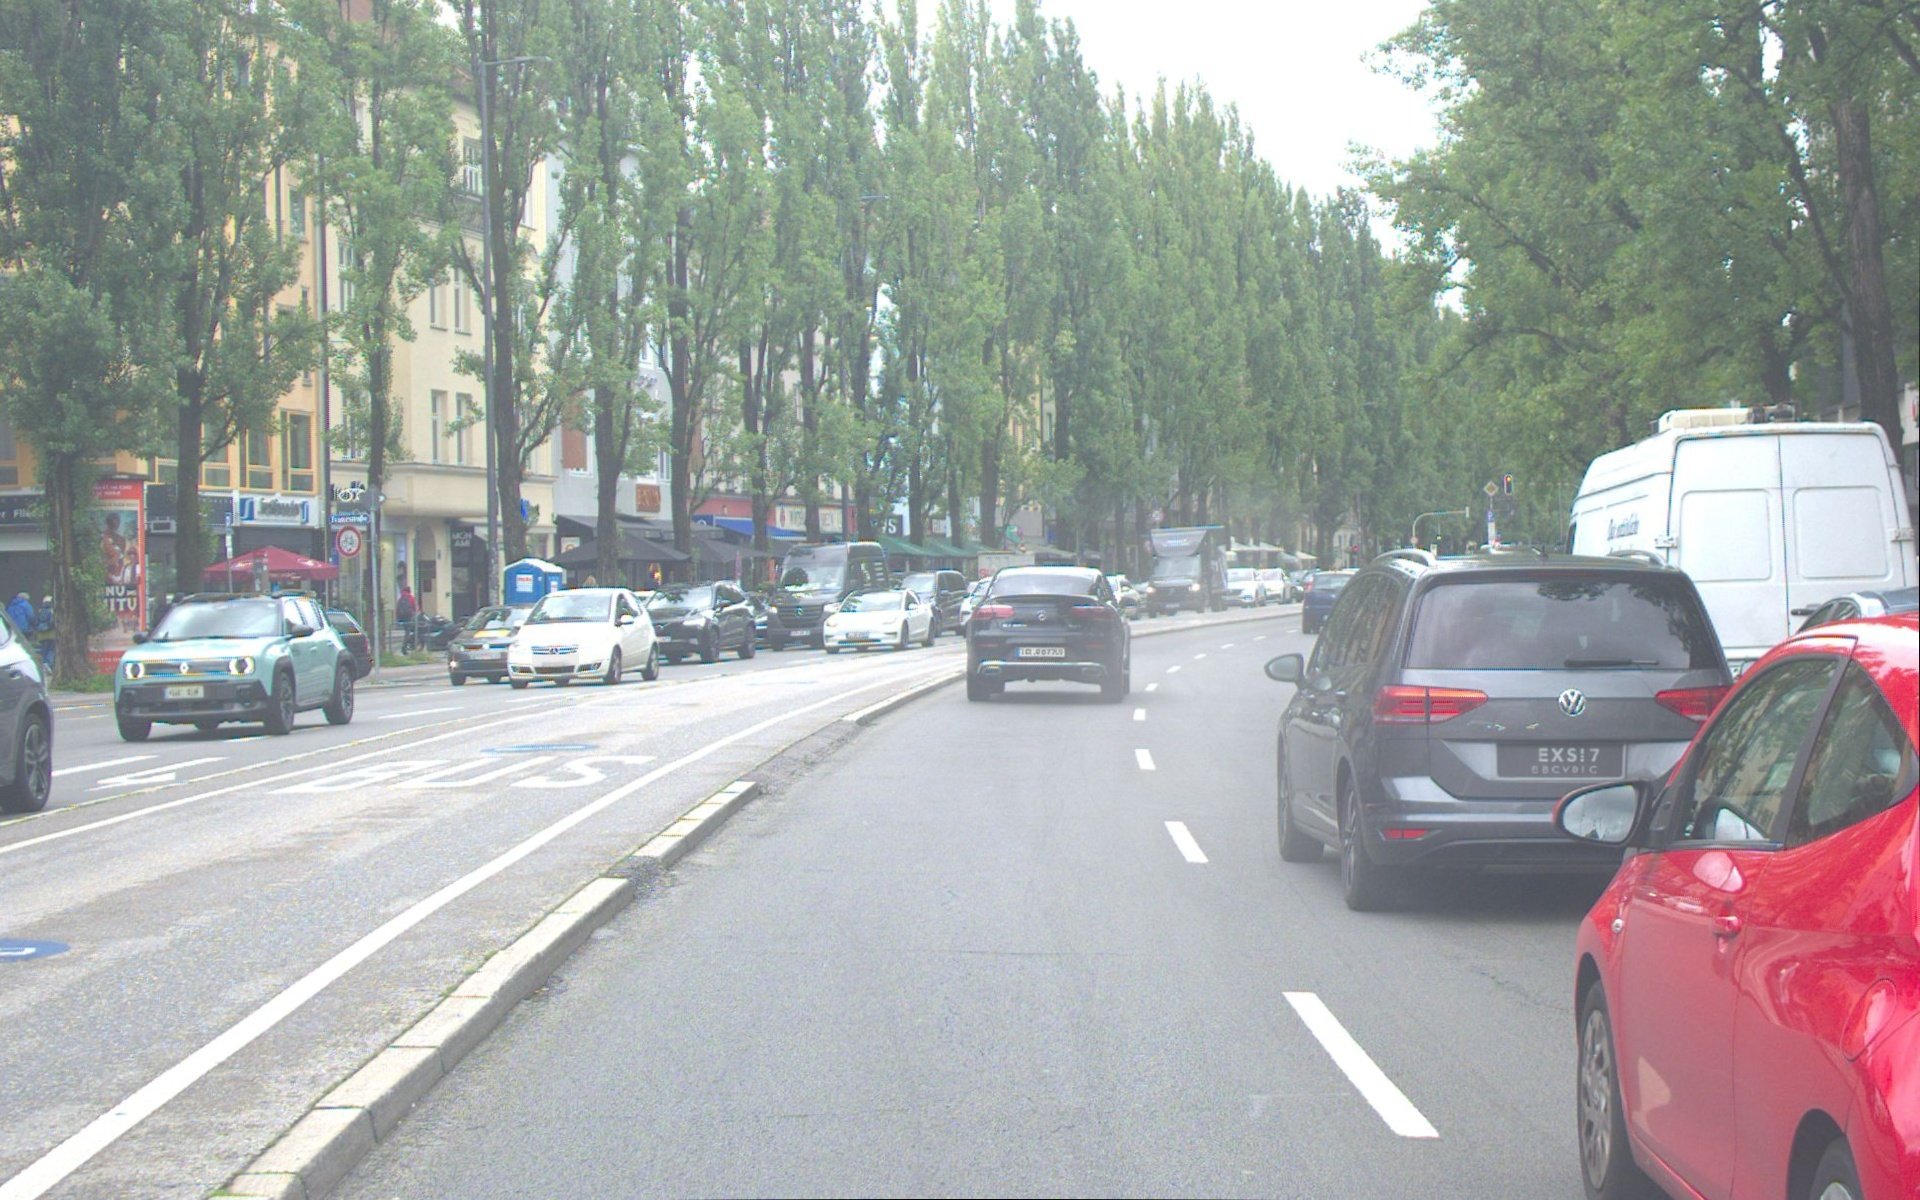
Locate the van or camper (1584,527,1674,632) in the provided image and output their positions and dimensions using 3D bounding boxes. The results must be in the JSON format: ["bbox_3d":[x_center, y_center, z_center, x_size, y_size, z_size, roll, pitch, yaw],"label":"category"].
[{"bbox_3d":[20.775,-0.645,106.637,2.462,3.101,4.712,-2,0,13],"label":"van or camper"}]

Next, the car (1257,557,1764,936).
[{"bbox_3d":[2.521,0.612,16.711,1.761,1.608,4.184,0,0,0],"label":"car"}]

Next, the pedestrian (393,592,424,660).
[{"bbox_3d":[-14.163,0.658,88.367,0.539,1.741,0.755,0,0,12],"label":"pedestrian"}]

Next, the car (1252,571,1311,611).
[{"bbox_3d":[13.750,-0.387,146.830,1.940,1.636,4.461,-2,0,12],"label":"car"}]

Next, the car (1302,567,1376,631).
[{"bbox_3d":[9.837,-0.025,88.991,1.760,1.614,3.745,0,0,8],"label":"car"}]

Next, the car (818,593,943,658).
[{"bbox_3d":[-1.787,0.566,79.205,1.800,1.389,4.688,-1,0,12],"label":"car"}]

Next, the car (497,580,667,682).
[{"bbox_3d":[-6.208,0.485,56.902,1.954,1.584,3.999,-1,0,6],"label":"car"}]

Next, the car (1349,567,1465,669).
[{"bbox_3d":[7.848,0.317,60.110,1.925,1.694,4.648,0,0,8],"label":"car"}]

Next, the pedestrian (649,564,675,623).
[{"bbox_3d":[-9.540,-0.217,110.150,0.638,1.855,0.647,-1,0,12],"label":"pedestrian"}]

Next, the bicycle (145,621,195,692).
[{"bbox_3d":[-13.783,0.975,60.001,0.368,1.197,1.153,-1,0,13],"label":"bicycle"}]

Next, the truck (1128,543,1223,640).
[{"bbox_3d":[7.829,-0.329,124.214,2.292,3.311,7.153,-2,0,12],"label":"truck"}]

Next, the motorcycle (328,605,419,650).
[{"bbox_3d":[-13.691,0.640,80.302,2.055,1.033,0.486,1,0,-8],"label":"motorcycle"}]

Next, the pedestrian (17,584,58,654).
[{"bbox_3d":[-19.026,0.384,70.906,0.632,1.430,0.778,-1,0,-1],"label":"pedestrian"}]

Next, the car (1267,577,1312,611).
[{"bbox_3d":[15.734,-0.294,163.829,1.668,1.590,3.998,0,0,12],"label":"car"}]

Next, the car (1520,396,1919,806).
[{"bbox_3d":[5.601,0.020,25.784,1.993,2.732,5.554,0,0,1],"label":"car"}]

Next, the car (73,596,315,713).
[{"bbox_3d":[-12.341,0.859,55.634,1.758,1.810,3.995,0,0,24],"label":"car"}]

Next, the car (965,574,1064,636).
[{"bbox_3d":[1.497,0.117,93.164,1.910,1.597,4.353,-1,0,11],"label":"car"}]

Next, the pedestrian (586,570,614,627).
[{"bbox_3d":[-10.724,-0.044,102.408,0.638,1.694,0.647,-1,0,12],"label":"pedestrian"}]

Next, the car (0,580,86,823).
[{"bbox_3d":[-7.400,0.716,22.597,1.993,1.615,4.413,-2,0,2],"label":"car"}]

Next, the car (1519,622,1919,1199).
[{"bbox_3d":[2.241,0.775,6.953,1.665,1.441,3.596,0,0,1],"label":"car"}]

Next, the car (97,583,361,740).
[{"bbox_3d":[-7.988,0.633,37.928,1.817,1.540,4.000,-3,0,3],"label":"car"}]

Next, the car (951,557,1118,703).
[{"bbox_3d":[0.965,0.332,41.989,1.881,1.636,4.582,-1,0,3],"label":"car"}]

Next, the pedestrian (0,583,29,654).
[{"bbox_3d":[-19.645,0.379,70.937,0.632,1.430,0.778,-1,0,-1],"label":"pedestrian"}]

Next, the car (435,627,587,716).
[{"bbox_3d":[-8.129,1.272,62.547,1.784,1.461,3.999,-2,0,7],"label":"car"}]

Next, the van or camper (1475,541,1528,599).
[{"bbox_3d":[23.995,-1.305,152.188,2.035,2.467,3.997,-1,-1,12],"label":"van or camper"}]

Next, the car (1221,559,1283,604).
[{"bbox_3d":[11.691,-0.748,137.370,1.861,1.705,4.533,-2,0,12],"label":"car"}]

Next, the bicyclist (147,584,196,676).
[{"bbox_3d":[-13.779,0.526,60.079,0.502,1.587,0.834,-1,0,12],"label":"bicyclist"}]

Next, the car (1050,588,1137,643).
[{"bbox_3d":[4.254,0.481,108.589,1.994,1.583,5.193,-3,0,10],"label":"car"}]

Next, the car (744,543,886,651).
[{"bbox_3d":[-3.602,-0.098,86.712,2.171,2.596,6.061,-1,0,11],"label":"car"}]

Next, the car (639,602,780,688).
[{"bbox_3d":[-5.372,0.949,74.349,2.019,1.710,4.981,-1,0,8],"label":"car"}]

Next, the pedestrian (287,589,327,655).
[{"bbox_3d":[-15.704,0.524,82.631,0.634,1.556,0.815,-1,0,14],"label":"pedestrian"}]

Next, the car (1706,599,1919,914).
[{"bbox_3d":[5.147,0.748,18.176,1.725,1.449,4.147,1,0,4],"label":"car"}]

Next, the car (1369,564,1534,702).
[{"bbox_3d":[6.259,0.393,44.149,1.727,1.680,4.408,0,0,3],"label":"car"}]

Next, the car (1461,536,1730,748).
[{"bbox_3d":[5.803,0.346,31.907,1.929,1.799,4.779,0,0,4],"label":"car"}]
